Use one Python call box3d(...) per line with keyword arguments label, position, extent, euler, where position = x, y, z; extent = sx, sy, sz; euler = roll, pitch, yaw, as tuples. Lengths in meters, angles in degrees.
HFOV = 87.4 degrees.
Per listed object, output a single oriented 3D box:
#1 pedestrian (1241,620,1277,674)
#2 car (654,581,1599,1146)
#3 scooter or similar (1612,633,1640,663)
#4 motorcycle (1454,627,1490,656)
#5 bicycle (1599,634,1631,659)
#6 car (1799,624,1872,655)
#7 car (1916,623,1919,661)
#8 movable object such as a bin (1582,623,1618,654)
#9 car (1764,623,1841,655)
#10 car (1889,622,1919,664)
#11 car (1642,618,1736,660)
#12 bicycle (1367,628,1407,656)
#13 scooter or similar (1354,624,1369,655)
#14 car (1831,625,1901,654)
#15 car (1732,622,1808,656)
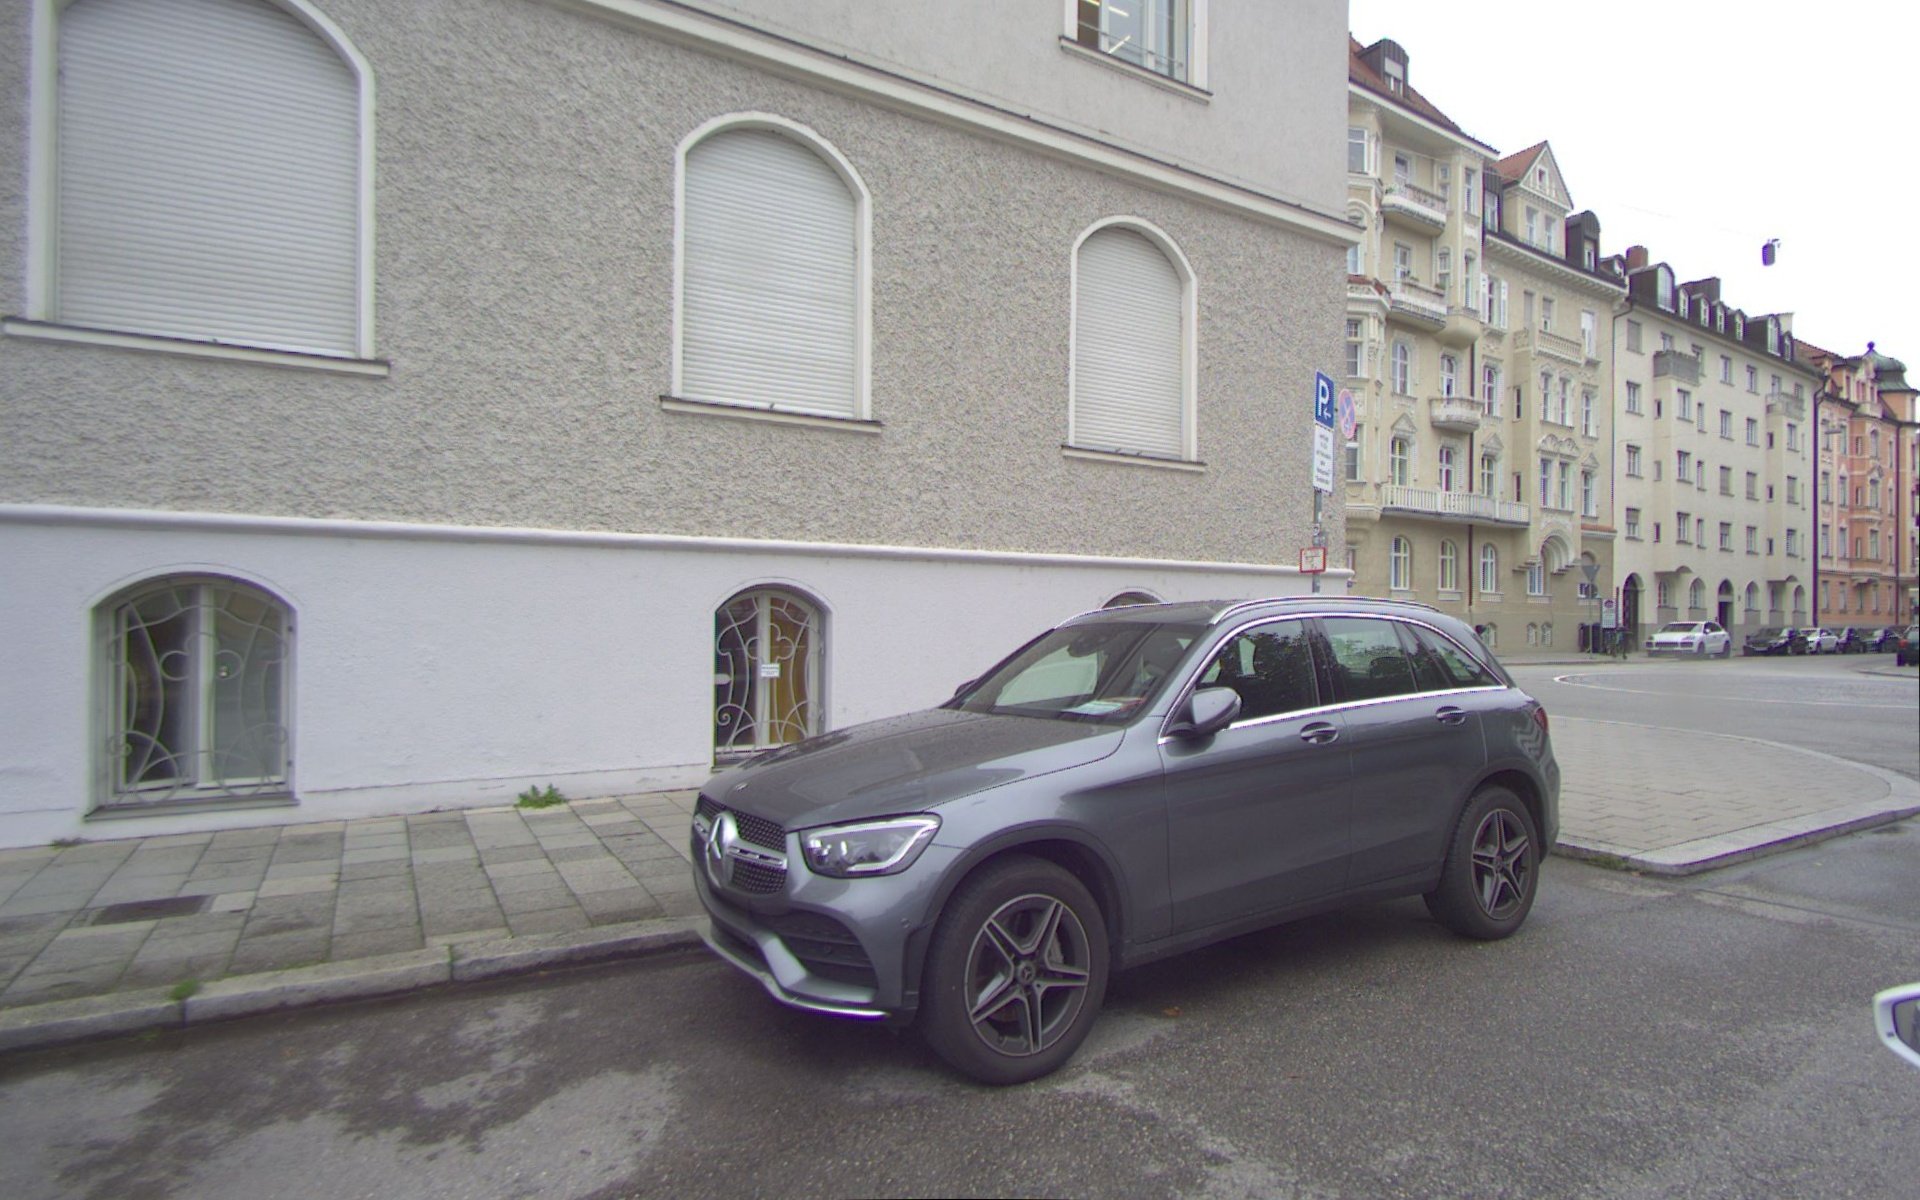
box3d(label="pedestrian", position=(9.416, 1.462, 31.643), extent=(0.849, 1.658, 0.725), euler=(1, -1, -40))
box3d(label="car", position=(0.996, 0.824, 4.829), extent=(4.446, 1.623, 1.738), euler=(1, -2, -32))
box3d(label="scooter or similar", position=(27.869, 1.985, 42.051), extent=(0.458, 1.209, 1.216), euler=(1, -1, 5))
box3d(label="motorcycle", position=(21.584, 1.756, 42.318), extent=(1.812, 1.191, 0.594), euler=(1, -1, -35))
box3d(label="bicycle", position=(29.329, 2.082, 44.971), extent=(1.812, 1.063, 0.559), euler=(1, -1, -35))
box3d(label="car", position=(49.094, 2.192, 56.285), extent=(4.360, 1.602, 1.964), euler=(1, -1, -33))
box3d(label="car", position=(40.642, 1.712, 41.026), extent=(4.198, 1.525, 1.779), euler=(1, -2, -39))
box3d(label="movable object such as a bin", position=(30.624, 1.839, 48.061), extent=(1.161, 1.444, 1.085), euler=(1, -1, -32))
box3d(label="car", position=(44.851, 2.066, 53.434), extent=(4.360, 1.602, 1.964), euler=(1, -1, -33))
box3d(label="car", position=(36.574, 1.592, 37.759), extent=(4.385, 1.525, 1.804), euler=(1, -2, -39))
box3d(label="car", position=(32.377, 1.708, 44.582), extent=(4.792, 1.723, 1.963), euler=(1, -1, -35))
box3d(label="bicycle", position=(16.621, 1.621, 39.084), extent=(1.812, 1.063, 0.559), euler=(1, -1, -35))
box3d(label="scooter or similar", position=(15.084, 1.460, 37.734), extent=(0.459, 1.130, 1.215), euler=(1, -1, 24))
box3d(label="car", position=(53.228, 2.312, 59.002), extent=(4.360, 1.602, 1.964), euler=(1, -1, -33))
box3d(label="car", position=(40.892, 1.931, 50.658), extent=(4.670, 1.637, 1.961), euler=(1, -1, -38))
